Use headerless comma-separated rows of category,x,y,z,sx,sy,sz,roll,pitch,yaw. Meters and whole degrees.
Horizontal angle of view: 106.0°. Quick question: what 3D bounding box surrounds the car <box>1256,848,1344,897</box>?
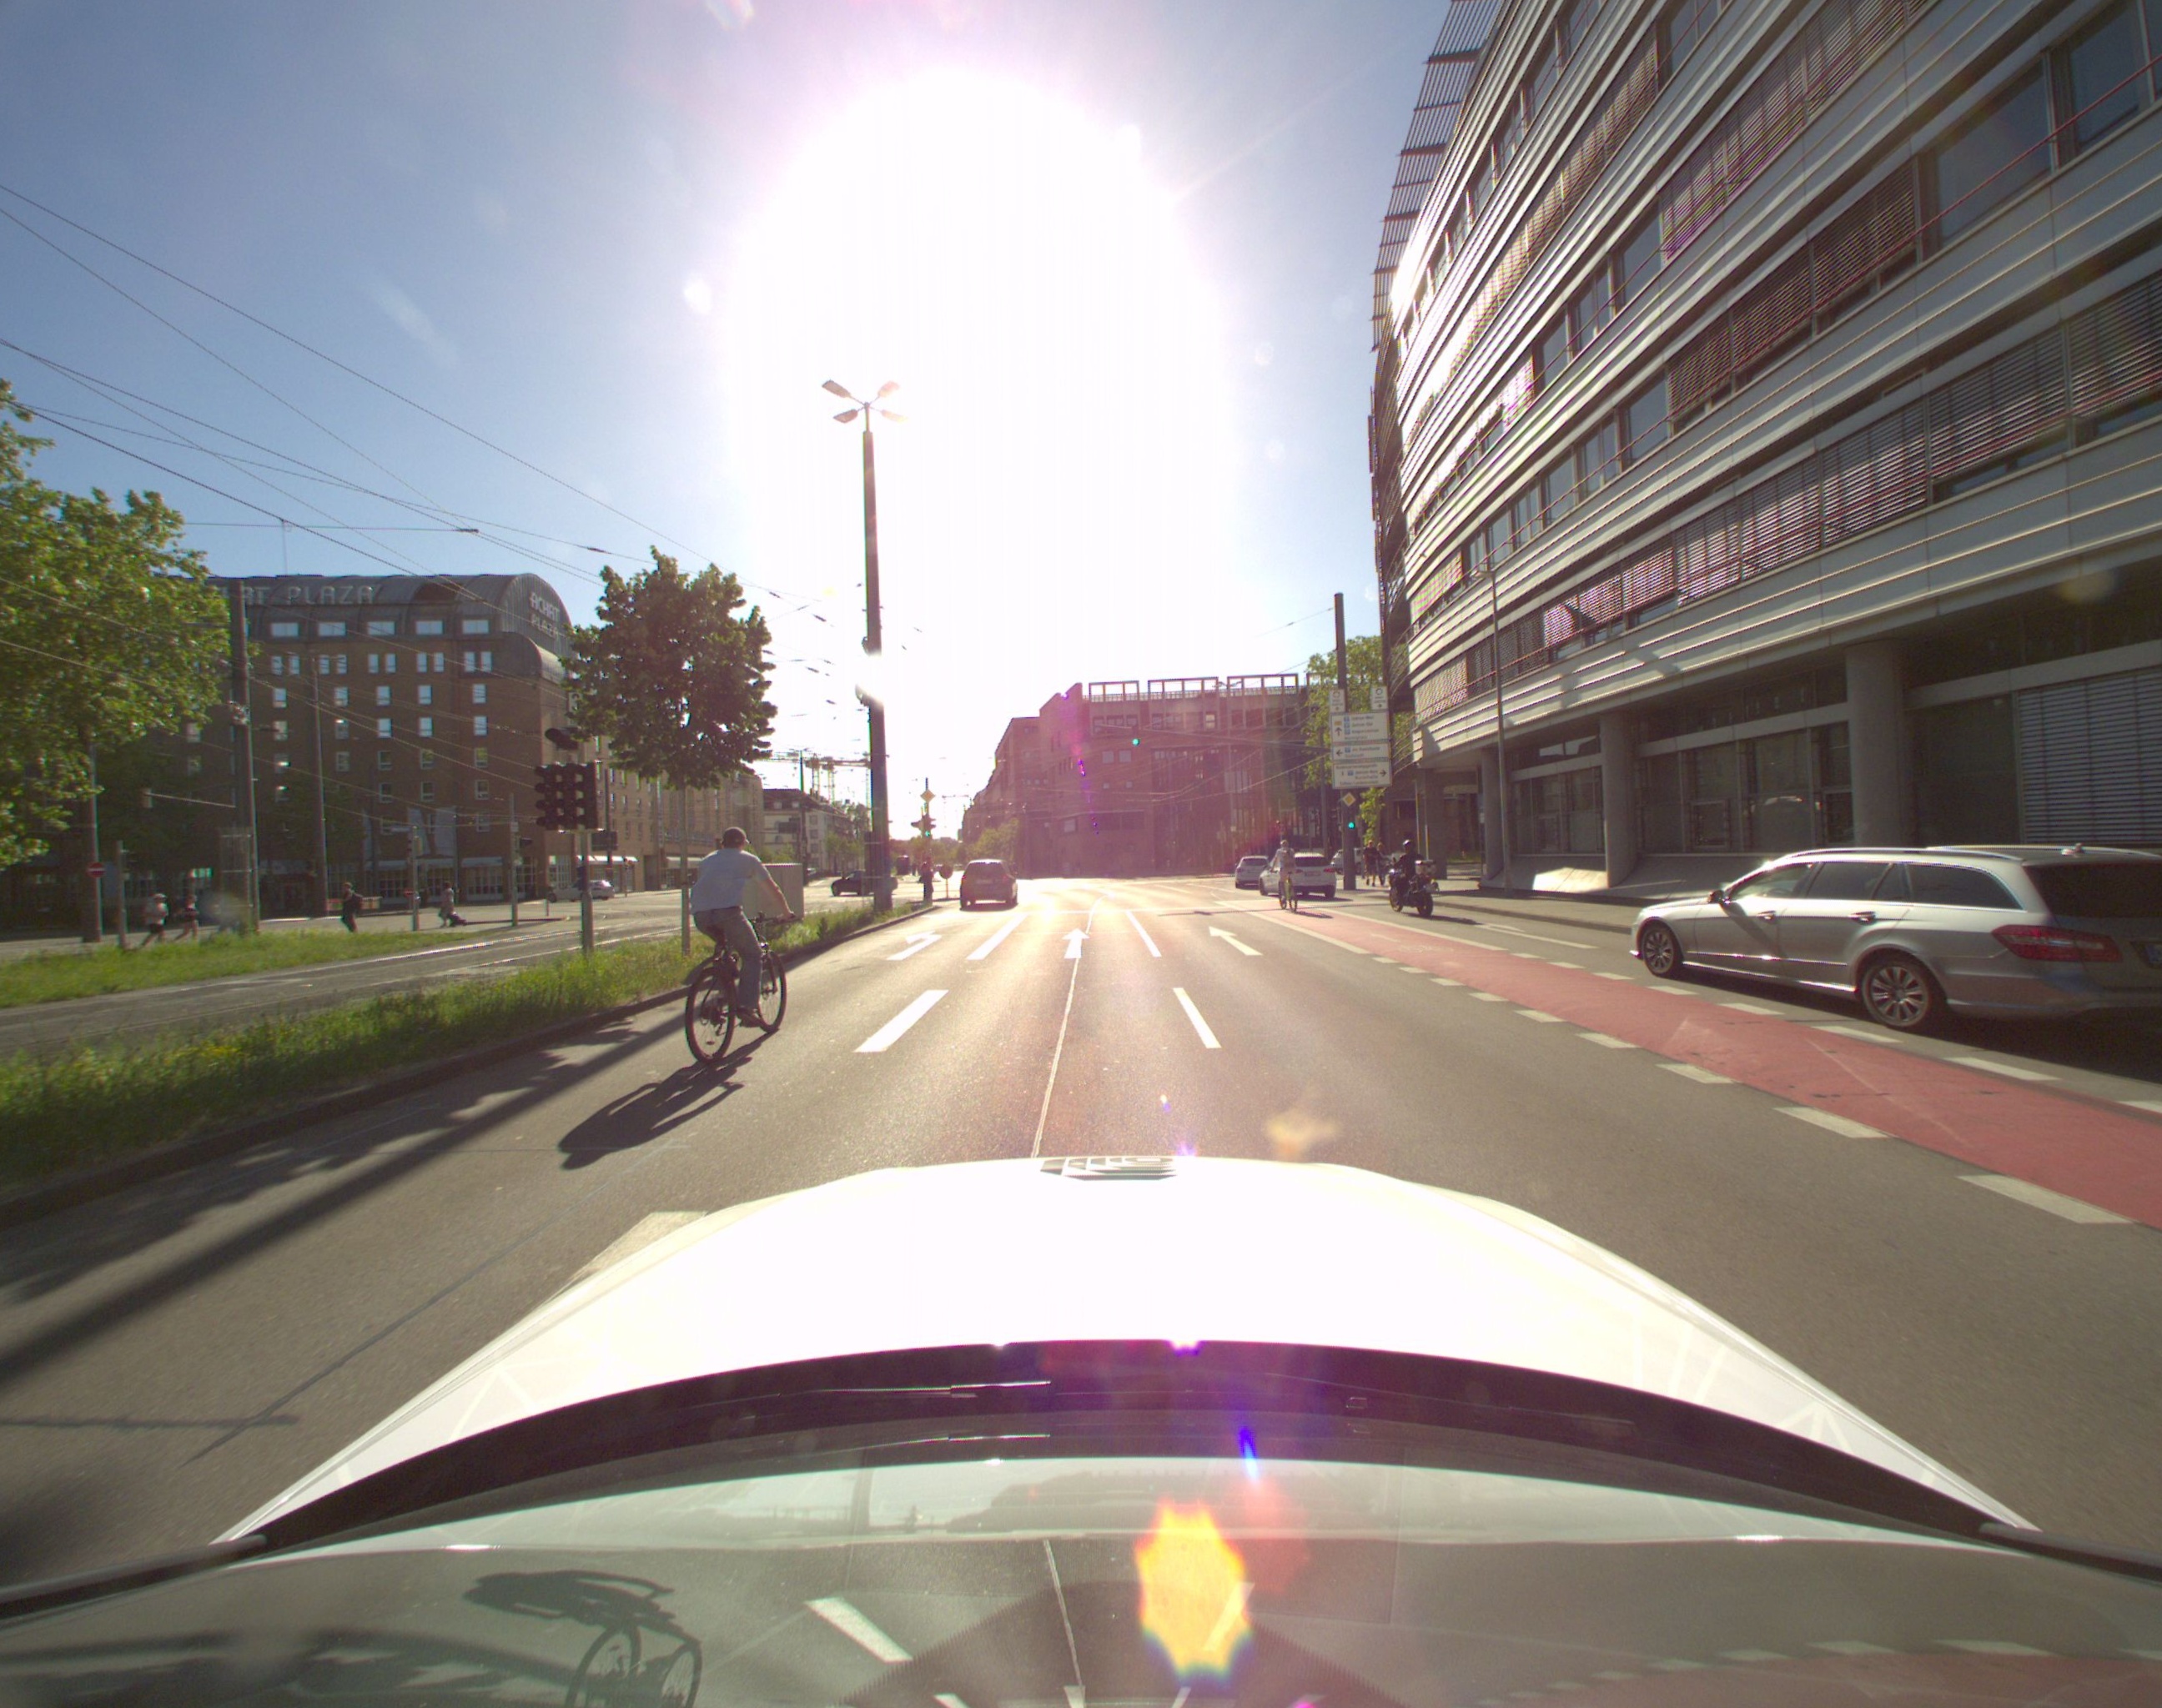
car,7.580,0.597,28.609,1.901,1.583,4.136,0,0,-1

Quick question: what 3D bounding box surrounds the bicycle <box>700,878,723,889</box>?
bicycle,-47.482,3.785,104.608,2.478,1.310,0.733,-2,-1,-2

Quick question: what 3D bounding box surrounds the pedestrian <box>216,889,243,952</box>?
pedestrian,-25.484,1.988,24.374,0.464,1.831,0.453,-2,-1,-37

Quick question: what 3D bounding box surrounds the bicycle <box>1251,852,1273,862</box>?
bicycle,15.216,0.245,68.429,1.669,0.806,0.671,-2,-1,-11

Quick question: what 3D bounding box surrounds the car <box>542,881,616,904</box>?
car,-35.983,2.758,58.360,4.363,1.381,2.076,-3,-1,17

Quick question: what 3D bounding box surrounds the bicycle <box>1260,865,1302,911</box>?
bicycle,5.271,0.876,21.564,0.647,1.110,1.758,-2,0,0

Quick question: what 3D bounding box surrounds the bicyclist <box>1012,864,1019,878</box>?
bicyclist,-6.538,1.716,81.378,0.593,1.335,0.929,-2,-1,-13

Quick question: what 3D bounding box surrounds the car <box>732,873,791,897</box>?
car,-21.160,2.056,53.928,3.540,1.449,1.668,-3,-1,27

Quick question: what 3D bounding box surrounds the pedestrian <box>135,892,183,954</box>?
pedestrian,-28.743,2.142,25.386,0.757,1.831,0.626,-2,-1,6

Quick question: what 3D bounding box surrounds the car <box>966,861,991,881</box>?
car,-10.476,1.733,82.903,1.996,1.948,3.981,-2,-1,-13

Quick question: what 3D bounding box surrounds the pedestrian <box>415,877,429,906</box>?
pedestrian,-45.298,2.592,55.976,0.519,1.932,0.530,-3,-1,15

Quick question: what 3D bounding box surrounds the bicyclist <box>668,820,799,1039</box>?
bicyclist,-2.848,0.582,6.767,0.615,1.669,1.020,-1,0,2

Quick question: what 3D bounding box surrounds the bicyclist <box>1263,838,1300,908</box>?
bicyclist,5.253,0.485,21.385,0.647,1.752,1.045,-2,0,0

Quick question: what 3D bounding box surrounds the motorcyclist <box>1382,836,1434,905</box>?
motorcyclist,7.670,0.377,19.135,0.826,1.561,0.942,-1,-1,0

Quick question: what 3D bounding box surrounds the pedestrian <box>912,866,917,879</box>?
pedestrian,-21.819,2.417,106.891,0.511,1.655,0.758,-2,-1,-13

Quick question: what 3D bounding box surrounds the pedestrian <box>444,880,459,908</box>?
pedestrian,-44.174,2.775,57.138,0.523,1.932,0.748,-2,-1,-12

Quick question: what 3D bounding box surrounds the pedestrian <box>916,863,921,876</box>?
pedestrian,-21.321,2.075,107.076,0.539,1.655,0.703,-2,-1,-13

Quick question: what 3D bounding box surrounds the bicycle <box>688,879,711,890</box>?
bicycle,-47.686,3.831,101.807,2.478,1.310,0.733,-2,-1,-2

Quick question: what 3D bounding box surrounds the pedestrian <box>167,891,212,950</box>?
pedestrian,-28.557,2.112,26.097,0.756,1.831,0.626,-2,-1,10

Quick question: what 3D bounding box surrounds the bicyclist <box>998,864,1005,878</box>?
bicyclist,-8.862,1.906,90.948,0.668,1.527,0.703,-2,-1,-14

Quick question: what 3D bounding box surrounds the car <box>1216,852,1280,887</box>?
car,7.786,0.698,38.299,1.902,1.541,4.132,0,0,-4

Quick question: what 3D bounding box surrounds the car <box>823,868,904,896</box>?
car,-12.632,1.635,47.325,4.464,1.449,1.742,-3,-1,26

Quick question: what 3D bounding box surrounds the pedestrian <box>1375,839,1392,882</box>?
pedestrian,11.904,0.257,32.058,0.425,1.645,0.564,-4,0,9

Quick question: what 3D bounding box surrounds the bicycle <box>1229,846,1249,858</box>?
bicycle,14.307,-0.153,73.701,1.674,0.994,0.669,-2,-1,-21

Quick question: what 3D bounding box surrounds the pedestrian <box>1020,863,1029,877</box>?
pedestrian,-7.295,2.103,105.344,0.881,1.717,0.927,-2,-1,-14

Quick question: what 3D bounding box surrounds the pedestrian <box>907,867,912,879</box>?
pedestrian,-22.504,2.491,107.008,0.601,1.566,0.910,-2,-1,-13

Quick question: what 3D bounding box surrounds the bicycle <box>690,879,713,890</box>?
bicycle,-48.076,3.833,103.098,2.478,1.310,0.733,-2,-1,-2

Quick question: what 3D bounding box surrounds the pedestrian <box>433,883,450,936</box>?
pedestrian,-22.571,1.956,28.744,0.387,1.831,0.459,-2,-1,-31

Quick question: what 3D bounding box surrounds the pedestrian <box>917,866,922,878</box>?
pedestrian,-21.323,2.384,107.315,0.539,1.655,0.892,-2,-1,-13

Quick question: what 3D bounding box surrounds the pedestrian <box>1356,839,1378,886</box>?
pedestrian,11.354,0.337,32.325,0.634,1.798,0.610,-4,0,10

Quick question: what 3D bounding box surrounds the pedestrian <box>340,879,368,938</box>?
pedestrian,-23.350,1.734,26.158,0.585,1.831,0.492,-2,-1,-37

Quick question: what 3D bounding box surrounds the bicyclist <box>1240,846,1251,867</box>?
bicyclist,14.926,0.241,73.788,0.608,1.884,0.646,-2,-1,-21

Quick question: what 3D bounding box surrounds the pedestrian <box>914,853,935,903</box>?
pedestrian,-5.615,0.851,29.140,0.670,1.753,0.766,-2,-1,-12

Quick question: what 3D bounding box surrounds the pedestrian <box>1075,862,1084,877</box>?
pedestrian,-0.137,1.596,84.945,0.618,1.563,0.982,-2,-1,-14

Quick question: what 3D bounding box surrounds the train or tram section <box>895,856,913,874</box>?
train or tram section,-33.019,2.049,152.569,2.325,3.003,13.121,-2,0,-8

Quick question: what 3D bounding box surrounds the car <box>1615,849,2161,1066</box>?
car,7.504,0.694,7.817,1.715,1.396,4.790,-2,0,2

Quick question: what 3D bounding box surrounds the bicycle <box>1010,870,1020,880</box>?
bicycle,-6.624,2.066,81.772,0.604,0.985,2.304,-2,-1,-13

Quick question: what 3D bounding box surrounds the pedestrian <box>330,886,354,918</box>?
pedestrian,-46.922,3.027,51.712,0.702,1.932,0.902,-2,-1,-12

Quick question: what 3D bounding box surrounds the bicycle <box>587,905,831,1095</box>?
bicycle,-2.850,1.040,6.676,0.684,1.069,2.698,-1,0,2

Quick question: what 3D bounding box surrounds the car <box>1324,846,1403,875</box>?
car,16.462,0.358,47.586,3.991,1.583,1.904,0,1,-13

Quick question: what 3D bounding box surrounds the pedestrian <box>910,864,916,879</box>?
pedestrian,-20.194,2.091,97.855,0.615,1.669,0.860,-5,1,-14

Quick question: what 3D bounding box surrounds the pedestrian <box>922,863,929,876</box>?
pedestrian,-21.468,2.161,112.336,0.721,1.735,0.596,-2,-1,-30

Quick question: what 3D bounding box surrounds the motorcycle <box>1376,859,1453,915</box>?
motorcycle,7.722,0.737,19.012,0.826,1.201,2.390,-1,-1,1

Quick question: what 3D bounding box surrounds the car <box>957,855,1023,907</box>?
car,-2.993,0.864,27.403,1.721,1.564,3.677,-2,0,0
